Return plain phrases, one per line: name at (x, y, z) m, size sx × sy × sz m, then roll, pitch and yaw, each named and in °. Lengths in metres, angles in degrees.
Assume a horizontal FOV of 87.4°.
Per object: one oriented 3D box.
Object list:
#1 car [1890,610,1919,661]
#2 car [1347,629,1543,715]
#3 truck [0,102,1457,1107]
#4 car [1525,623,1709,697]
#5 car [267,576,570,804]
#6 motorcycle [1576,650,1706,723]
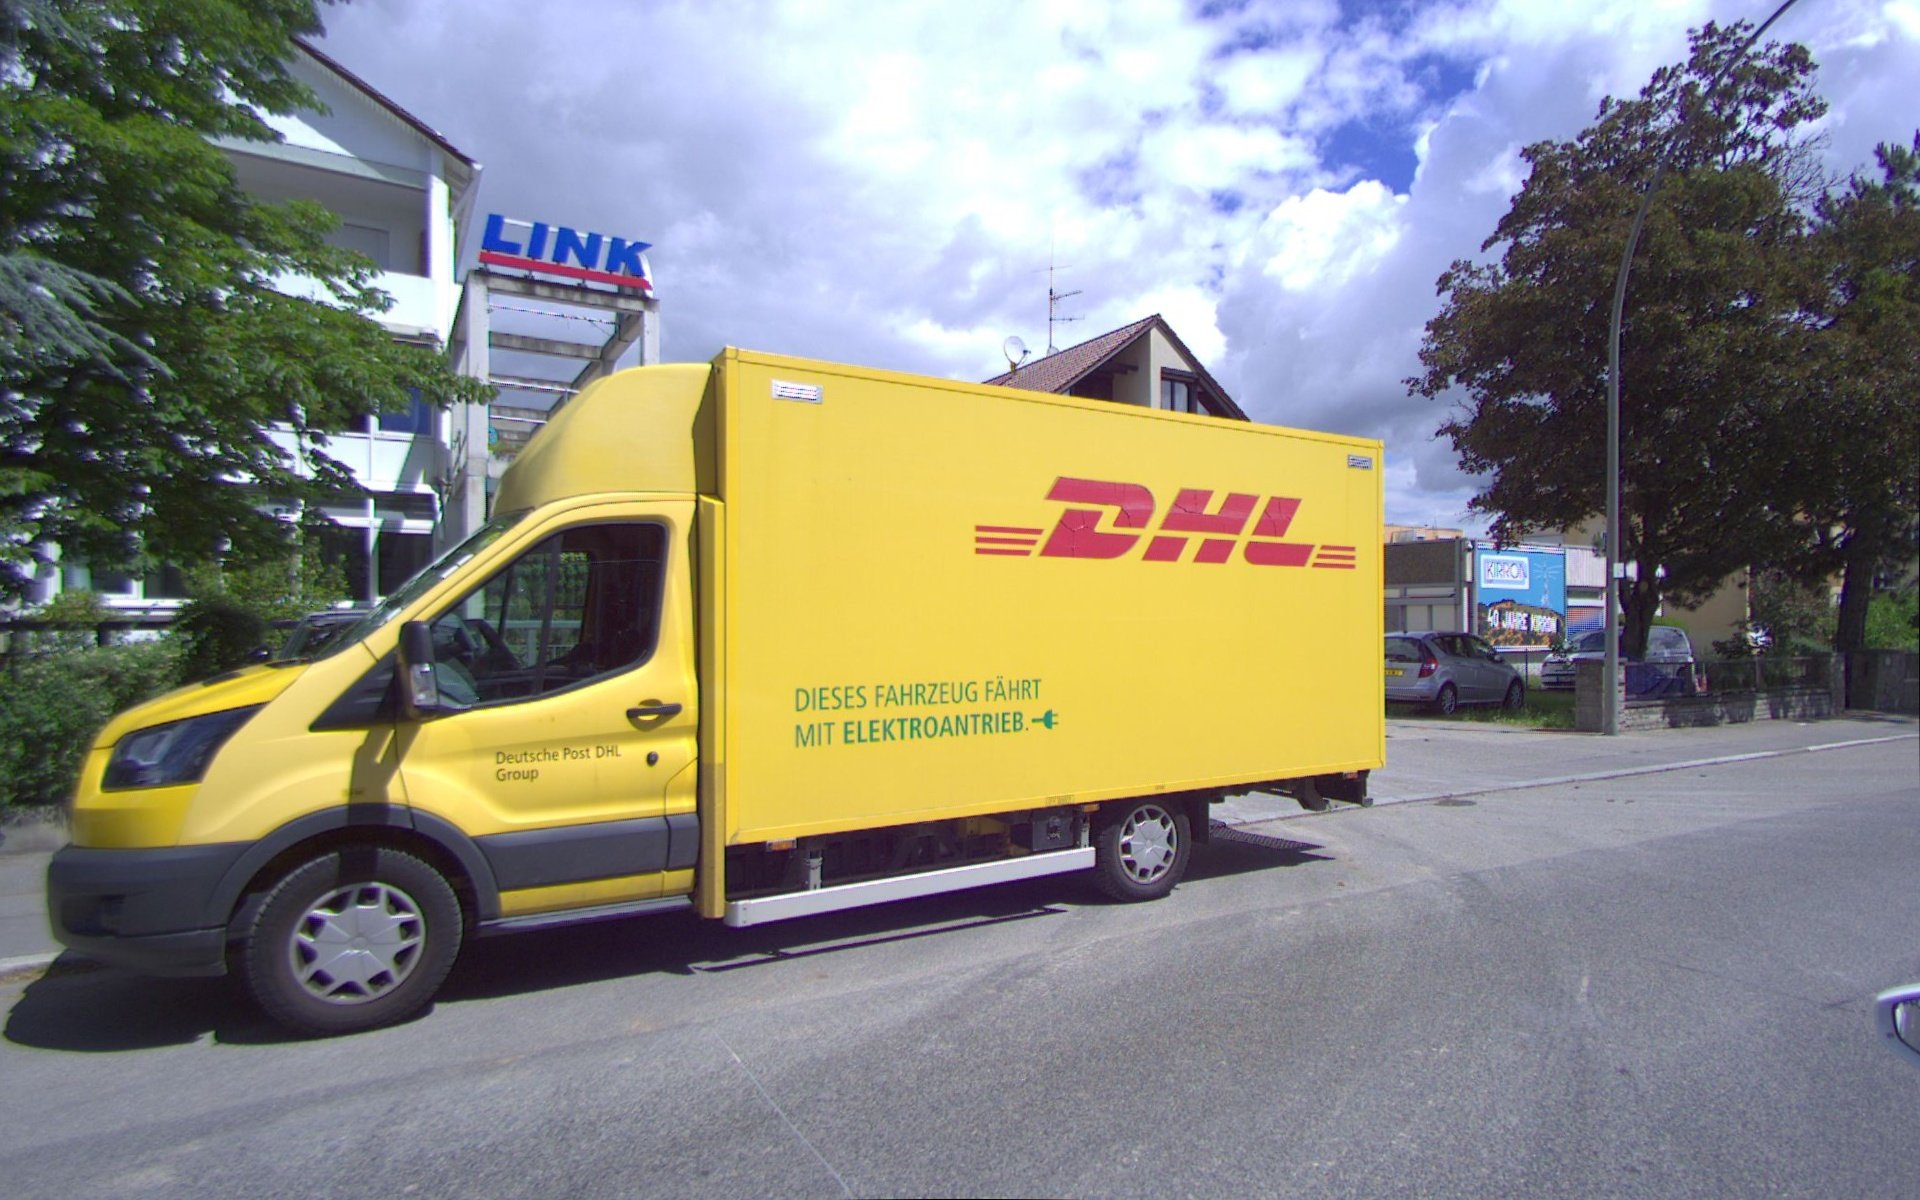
car at (50.168, 1.814, 50.936) m, size 6.056 × 2.528 × 2.404 m, roll 1°, pitch -3°, yaw -27°
car at (9.723, 1.367, 20.065) m, size 4.045 × 1.563 × 1.756 m, roll 2°, pitch -2°, yaw -34°
truck at (-0.503, 0.132, 5.886) m, size 7.730 × 3.042 × 2.312 m, roll 1°, pitch -4°, yaw -32°
car at (18.117, 1.621, 27.647) m, size 5.416 × 1.855 × 2.070 m, roll 2°, pitch -3°, yaw -31°
car at (-5.212, 0.692, 9.607) m, size 1.950 × 1.572 × 4.983 m, roll 2°, pitch -2°, yaw -31°
motorcycle at (12.067, 1.496, 17.878) m, size 0.810 × 1.181 × 1.872 m, roll 1°, pitch -2°, yaw -13°
